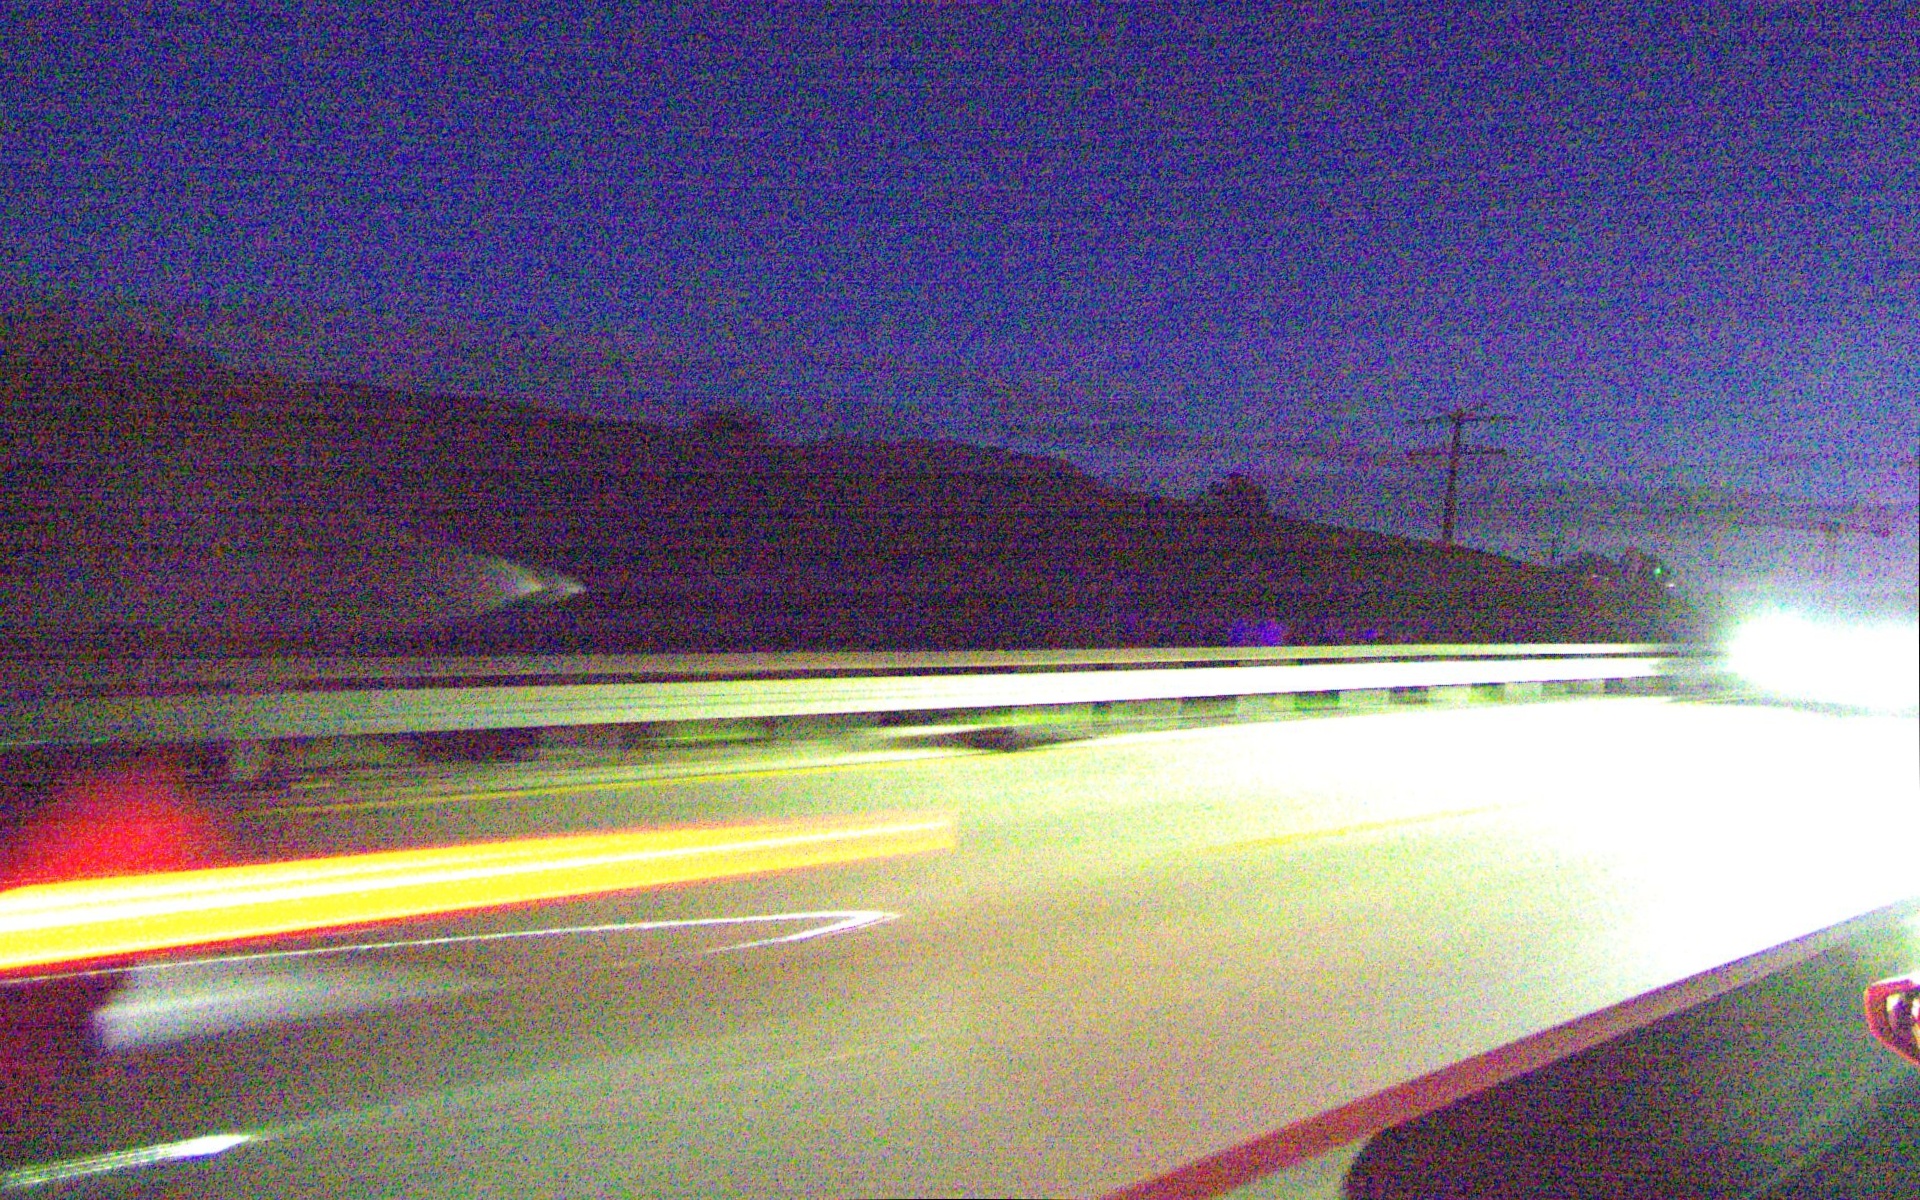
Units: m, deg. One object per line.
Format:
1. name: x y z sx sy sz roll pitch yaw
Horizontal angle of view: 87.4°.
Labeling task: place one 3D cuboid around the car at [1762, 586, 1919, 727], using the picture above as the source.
1. car: 15.946 0.878 17.052 5.527 2.040 1.982 1 1 -33

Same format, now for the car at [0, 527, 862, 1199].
1. car: -2.326 0.638 1.865 3.954 1.488 1.643 2 -2 -31
